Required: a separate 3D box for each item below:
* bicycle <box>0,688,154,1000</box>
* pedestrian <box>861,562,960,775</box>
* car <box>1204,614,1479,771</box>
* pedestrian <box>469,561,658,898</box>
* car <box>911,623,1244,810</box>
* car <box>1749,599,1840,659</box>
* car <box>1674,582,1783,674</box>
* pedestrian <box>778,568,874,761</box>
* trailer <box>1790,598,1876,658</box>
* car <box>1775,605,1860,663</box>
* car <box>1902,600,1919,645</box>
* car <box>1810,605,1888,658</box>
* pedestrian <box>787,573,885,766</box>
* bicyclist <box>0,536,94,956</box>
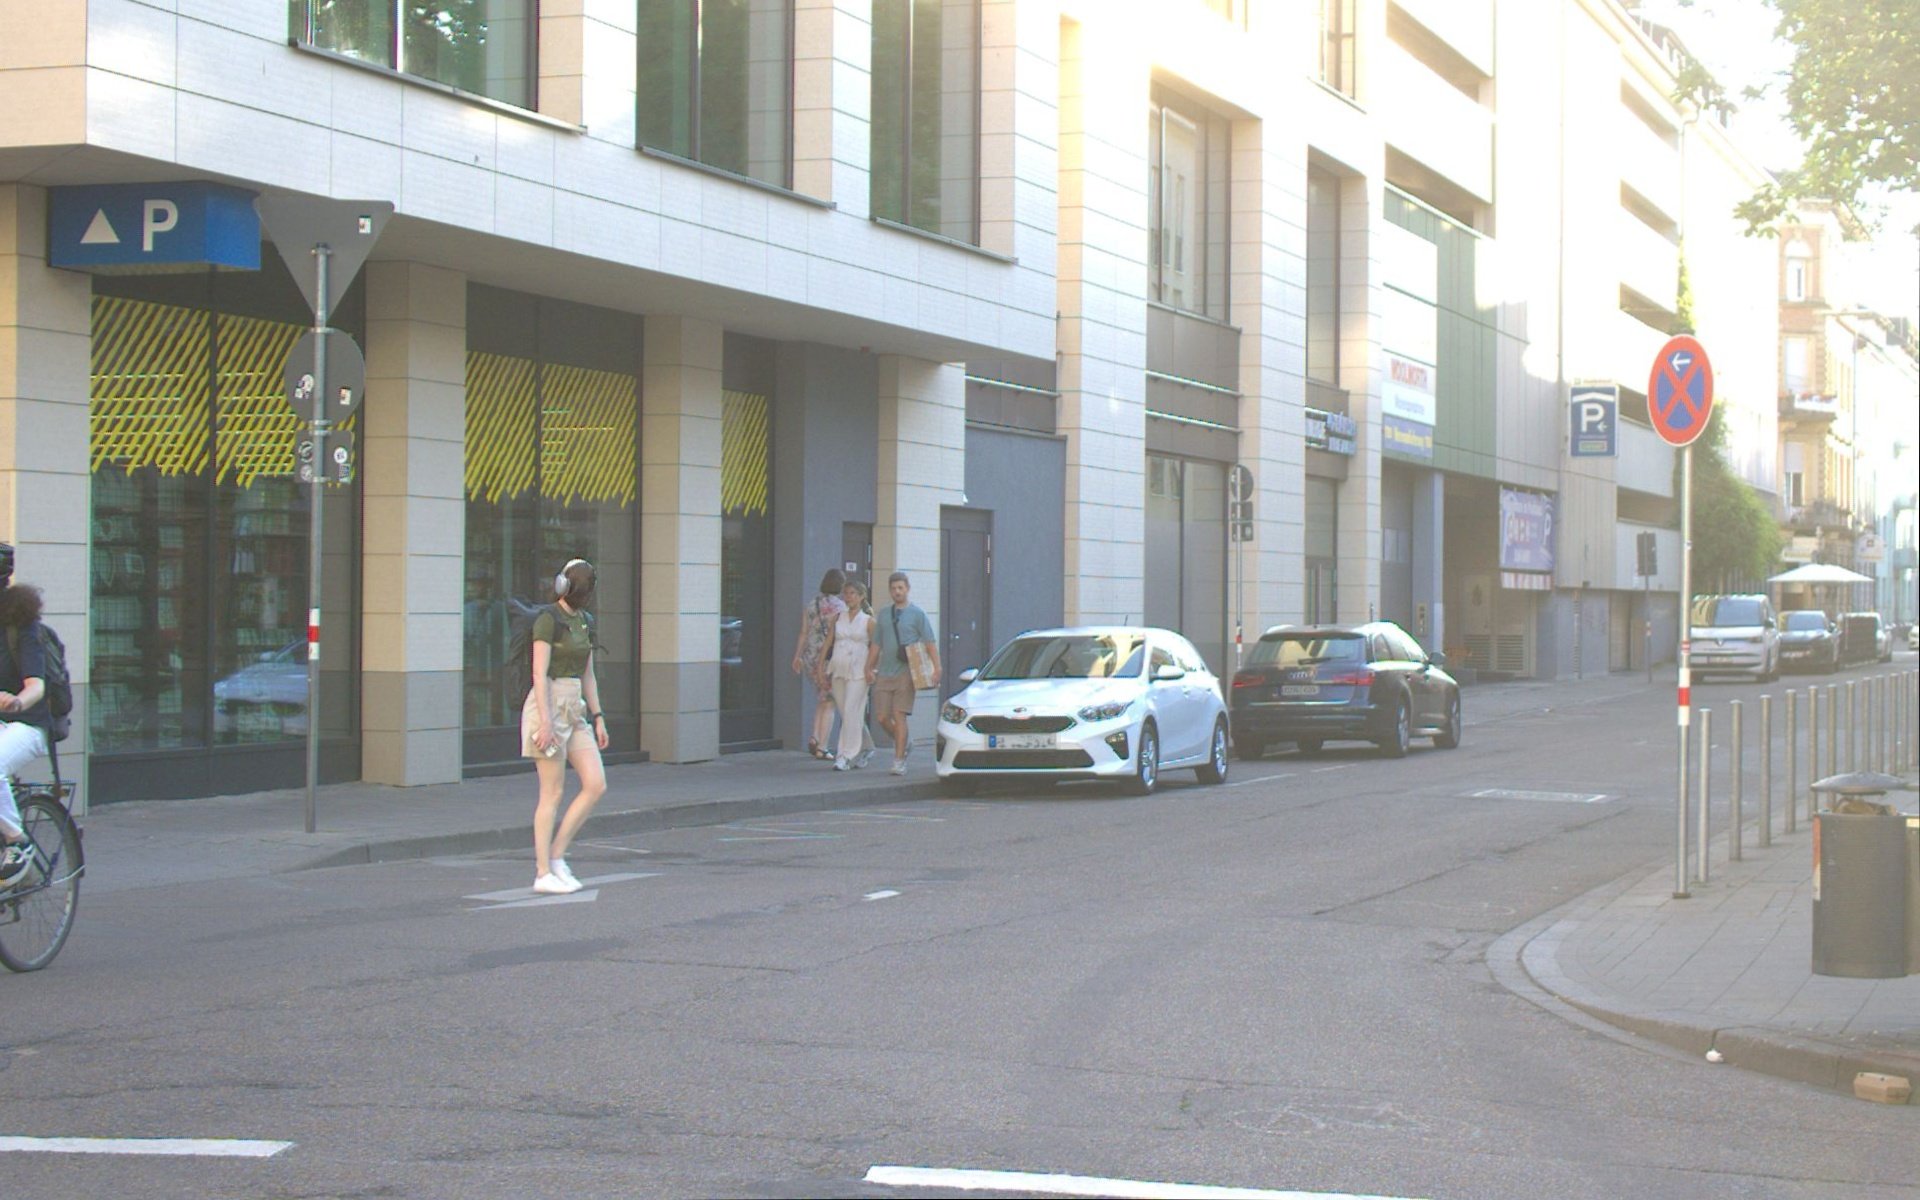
[{"bbox_3d":[-3.833,0.923,13.120,0.664,1.134,1.820,1,0,16],"label":"bicycle"},{"bbox_3d":[-0.428,0.591,30.041,0.672,1.830,0.647,1,0,17],"label":"pedestrian"},{"bbox_3d":[4.331,0.972,38.326,1.885,1.592,4.684,1,0,21],"label":"car"},{"bbox_3d":[-2.088,0.660,18.053,0.635,1.717,0.845,1,0,-36],"label":"pedestrian"},{"bbox_3d":[1.099,0.945,29.798,1.779,1.448,4.227,1,0,18],"label":"car"},{"bbox_3d":[20.711,0.699,85.248,1.885,1.448,3.996,1,0,18],"label":"car"},{"bbox_3d":[16.712,0.588,74.610,1.885,1.905,4.744,1,0,18],"label":"car"},{"bbox_3d":[-1.229,0.582,31.502,0.672,1.738,0.647,0,0,20],"label":"pedestrian"},{"bbox_3d":[23.831,0.768,93.785,1.995,1.552,3.996,1,0,18],"label":"trailer"},{"bbox_3d":[22.459,0.878,89.962,1.885,1.448,3.996,1,0,18],"label":"car"},{"bbox_3d":[36.976,0.865,130.526,1.995,1.678,3.996,1,0,20],"label":"car"},{"bbox_3d":[25.283,0.879,97.708,1.885,1.448,3.996,1,0,18],"label":"car"},{"bbox_3d":[-1.091,0.604,30.337,0.672,1.669,0.647,1,0,17],"label":"pedestrian"},{"bbox_3d":[-3.832,0.544,13.101,0.658,1.565,0.862,1,-1,16],"label":"bicyclist"}]
